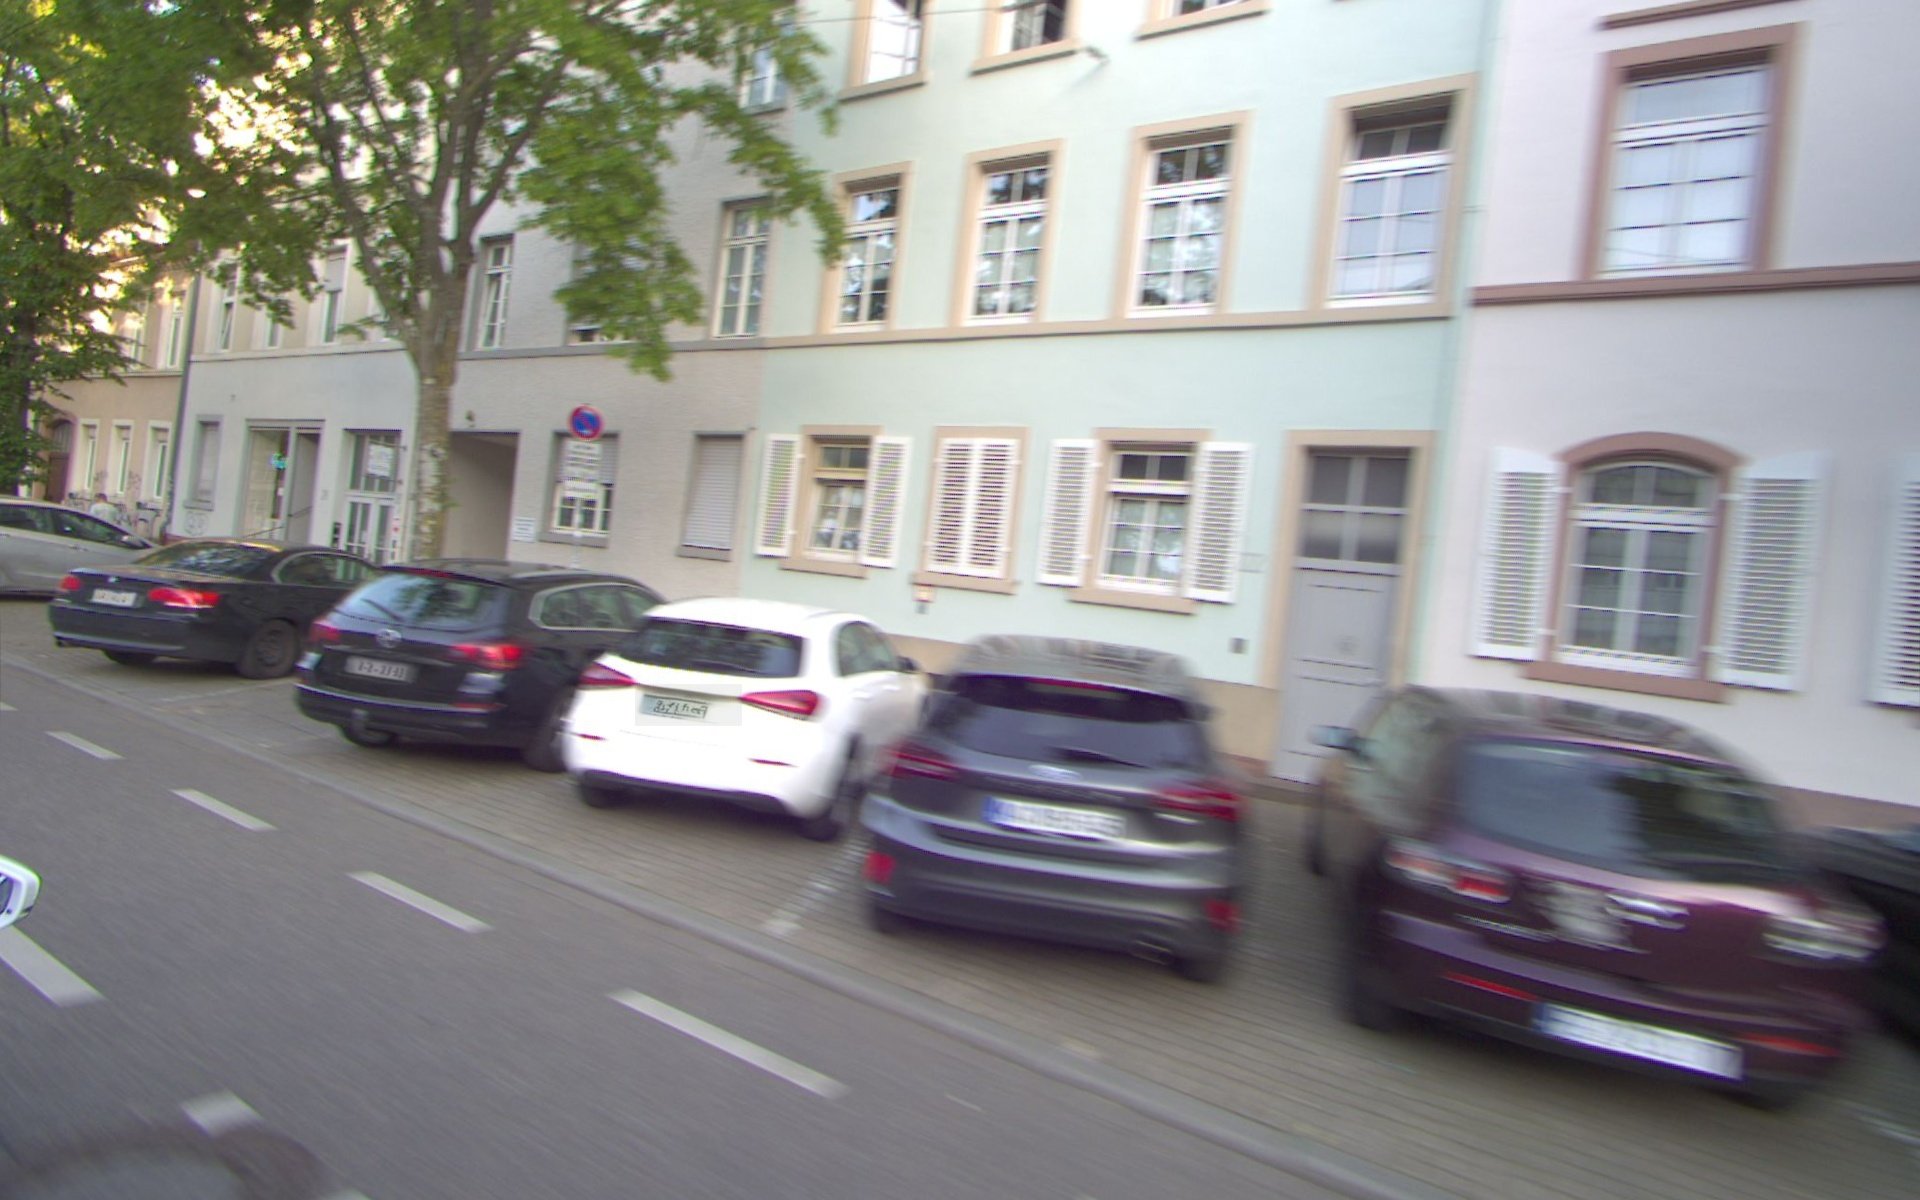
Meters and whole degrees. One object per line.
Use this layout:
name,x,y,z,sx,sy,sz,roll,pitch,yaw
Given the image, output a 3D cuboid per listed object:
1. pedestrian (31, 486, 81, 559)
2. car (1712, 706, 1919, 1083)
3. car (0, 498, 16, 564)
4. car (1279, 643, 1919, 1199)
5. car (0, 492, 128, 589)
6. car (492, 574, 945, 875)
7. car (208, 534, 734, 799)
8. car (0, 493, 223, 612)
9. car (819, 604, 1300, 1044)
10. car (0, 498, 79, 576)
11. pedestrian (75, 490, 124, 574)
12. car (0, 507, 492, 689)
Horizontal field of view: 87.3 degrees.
pedestrian,-20.856,-1.791,23.205,0.800,1.587,0.538,7,0,33
car,4.958,1.442,3.720,1.788,1.445,4.173,7,2,13
car,-22.205,-1.641,20.413,1.884,1.442,4.136,6,0,6
car,2.845,1.158,5.208,1.963,1.490,3.959,7,2,15
car,-17.225,-1.139,17.276,1.861,1.580,4.266,6,0,9
car,-1.450,0.678,7.803,1.949,1.490,4.127,6,2,7
car,-3.660,0.397,8.545,1.977,1.490,4.127,6,2,7
car,-13.998,-0.766,15.106,1.982,1.568,4.263,6,0,21
car,0.586,0.901,6.114,1.789,1.490,4.127,6,2,6
car,-19.596,-1.356,19.036,1.861,1.442,4.136,6,0,6
pedestrian,-20.028,-1.579,23.419,0.597,1.836,0.566,7,0,31
car,-7.431,0.010,11.101,1.977,1.409,4.266,6,0,8
